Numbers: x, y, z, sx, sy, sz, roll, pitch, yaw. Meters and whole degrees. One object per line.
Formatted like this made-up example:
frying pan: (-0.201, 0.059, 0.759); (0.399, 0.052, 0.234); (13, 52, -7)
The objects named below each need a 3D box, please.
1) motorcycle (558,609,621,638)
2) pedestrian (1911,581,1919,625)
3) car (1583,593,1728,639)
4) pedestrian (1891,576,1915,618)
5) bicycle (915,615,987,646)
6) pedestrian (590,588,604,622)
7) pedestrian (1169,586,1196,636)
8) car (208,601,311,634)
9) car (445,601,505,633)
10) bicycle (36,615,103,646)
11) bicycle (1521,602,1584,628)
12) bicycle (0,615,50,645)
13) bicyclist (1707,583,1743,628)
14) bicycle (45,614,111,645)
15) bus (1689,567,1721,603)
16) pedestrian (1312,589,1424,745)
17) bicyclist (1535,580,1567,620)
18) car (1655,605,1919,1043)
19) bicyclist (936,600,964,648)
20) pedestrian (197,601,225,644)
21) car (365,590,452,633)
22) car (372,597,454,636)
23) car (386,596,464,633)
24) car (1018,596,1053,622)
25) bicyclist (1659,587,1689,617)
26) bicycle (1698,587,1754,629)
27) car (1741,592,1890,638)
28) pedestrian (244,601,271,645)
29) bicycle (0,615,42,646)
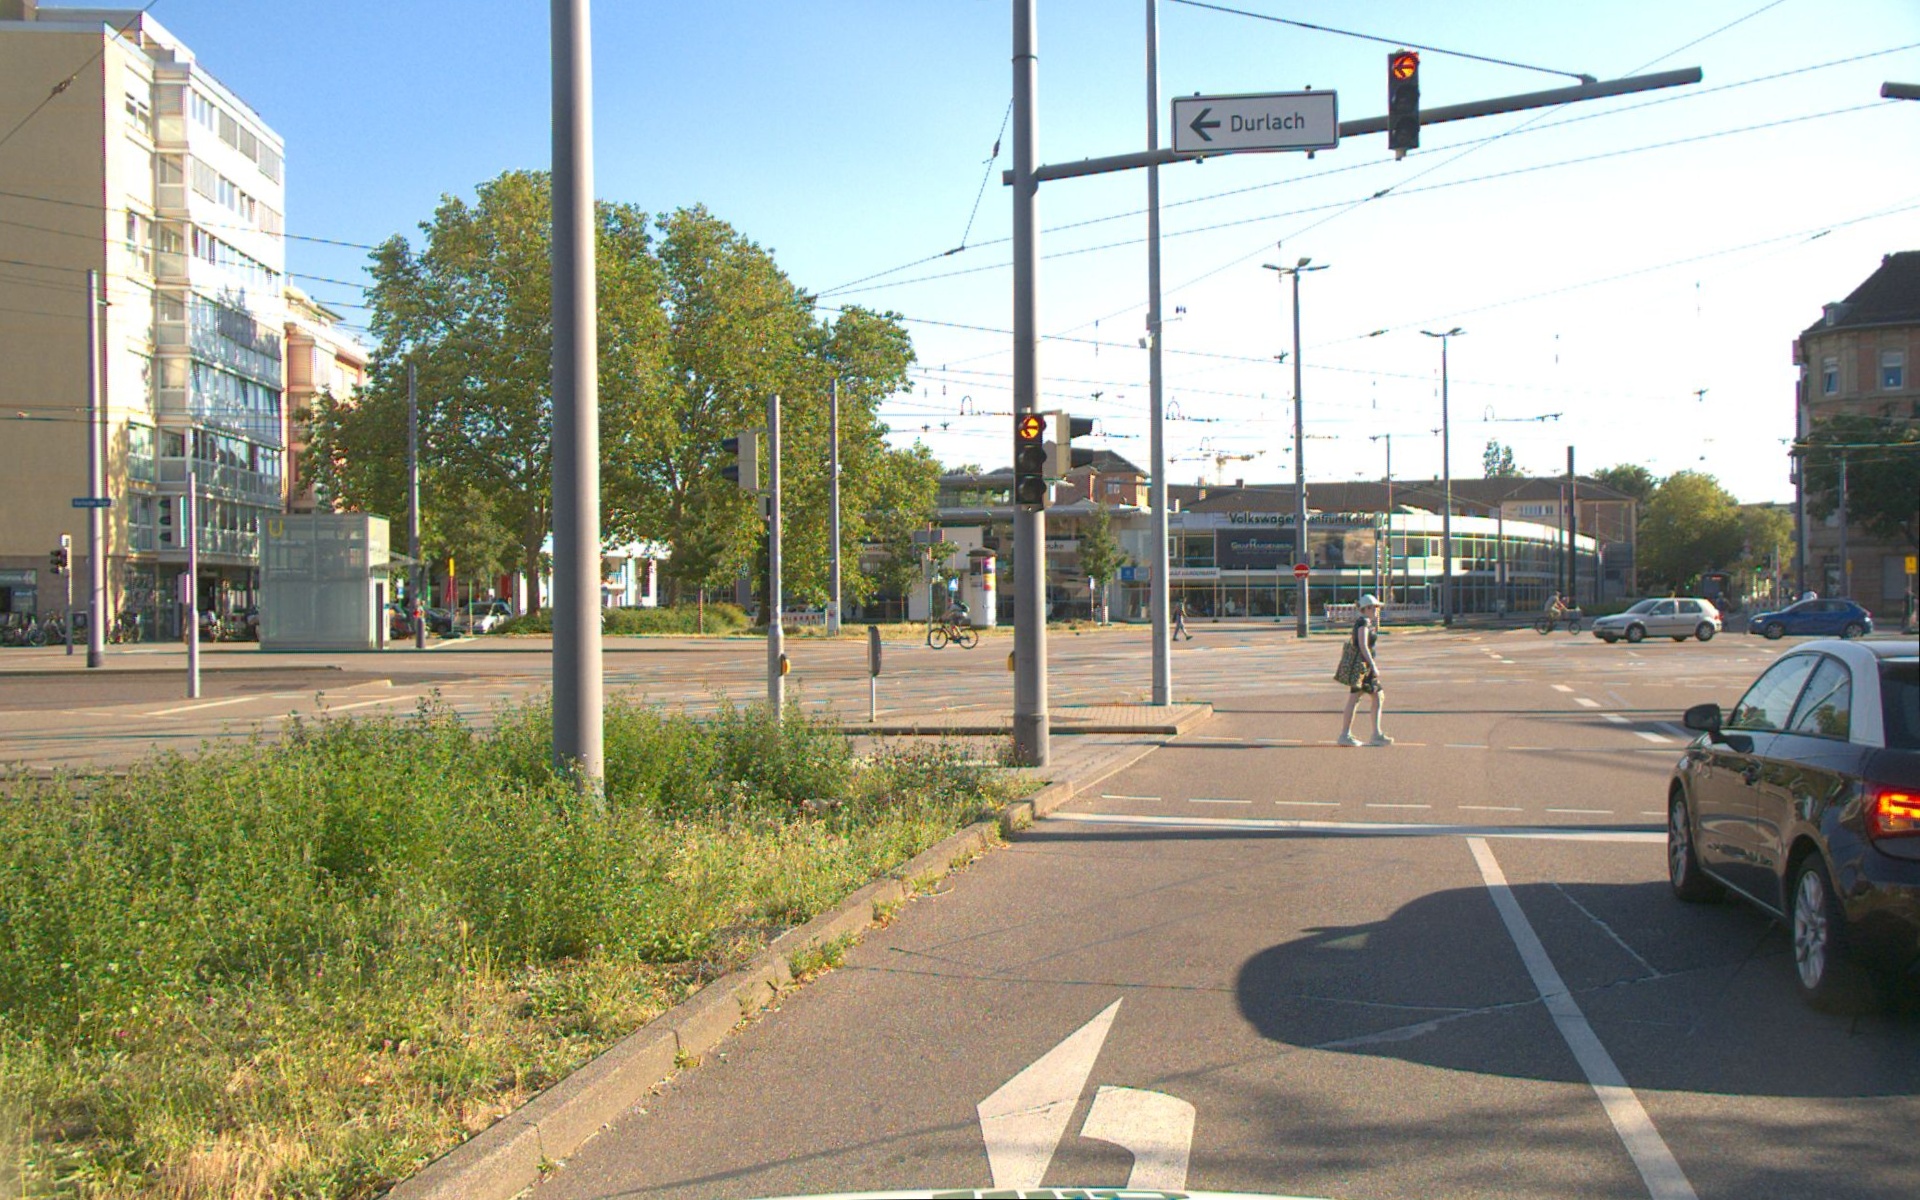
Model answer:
motorcycle: (-14.136, 0.890, 63.074); (2.237, 1.072, 0.687); (0, 2, 0)
pedestrian: (37.984, 0.115, 64.938); (0.904, 1.705, 0.783); (-1, 0, 13)
car: (23.060, 0.518, 54.933); (4.014, 1.477, 1.952); (0, 0, -5)
pedestrian: (37.778, -0.122, 66.267); (0.631, 1.682, 0.553); (0, 0, -24)
bicycle: (-0.320, 1.020, 55.817); (2.389, 1.021, 0.963); (-1, 0, -2)
pedestrian: (-21.932, 0.297, 100.032); (0.576, 2.049, 0.711); (-1, 0, 13)
pedestrian: (8.438, 0.404, 62.680); (0.968, 1.848, 0.921); (0, 2, 12)
car: (-31.604, 0.782, 74.719); (3.913, 1.447, 1.809); (-1, 0, -9)
car: (-22.606, 0.771, 77.232); (1.810, 1.477, 3.998); (0, 0, -3)
bicycle: (-33.023, 1.138, 61.353); (2.003, 1.109, 0.776); (-1, 0, -6)
bicycle: (23.764, 0.614, 66.371); (2.254, 0.996, 0.858); (0, 2, -9)
bicycle: (-35.318, 1.112, 61.971); (2.003, 1.109, 0.776); (-1, 0, -6)
bicyclist: (33.898, 0.242, 73.306); (1.065, 1.933, 1.105); (-1, 2, -43)
bicycle: (-33.152, 1.110, 62.192); (2.003, 1.109, 0.776); (-1, 0, -6)
bus: (66.320, -1.389, 147.357); (2.306, 2.933, 9.578); (1, 2, 22)
pedestrian: (4.431, 0.713, 18.016); (1.070, 1.634, 0.699); (0, 2, 3)
bicyclist: (23.716, -0.002, 66.362); (0.906, 1.586, 0.858); (0, 2, -9)
car: (4.419, 0.784, 7.396); (1.762, 1.469, 3.981); (1, 0, 13)
bicyclist: (-0.345, 0.799, 55.812); (0.905, 1.587, 0.963); (0, 0, -2)
pedestrian: (-29.435, 0.881, 64.989); (0.760, 1.705, 0.782); (0, 0, -4)
car: (-26.818, 0.540, 80.425); (3.931, 2.049, 1.987); (0, 0, -22)
car: (-28.271, 0.854, 85.431); (3.931, 1.889, 1.841); (-1, 2, -22)
car: (-29.155, 0.751, 90.075); (3.931, 1.889, 1.841); (-1, 2, -22)
car: (5.050, 0.587, 110.156); (1.951, 1.561, 4.004); (0, 2, 8)
bicyclist: (28.175, 0.073, 65.269); (0.701, 1.163, 0.834); (0, 2, -16)
bicycle: (34.022, 0.336, 73.388); (1.119, 1.719, 3.975); (2, 2, 42)
car: (30.585, 0.543, 59.250); (4.506, 1.622, 1.954); (-1, 0, 20)
pedestrian: (-27.587, 0.881, 64.956); (0.760, 1.705, 0.782); (0, 0, -4)
bicycle: (-35.151, 1.141, 61.113); (2.003, 1.109, 0.776); (-1, 0, -6)
